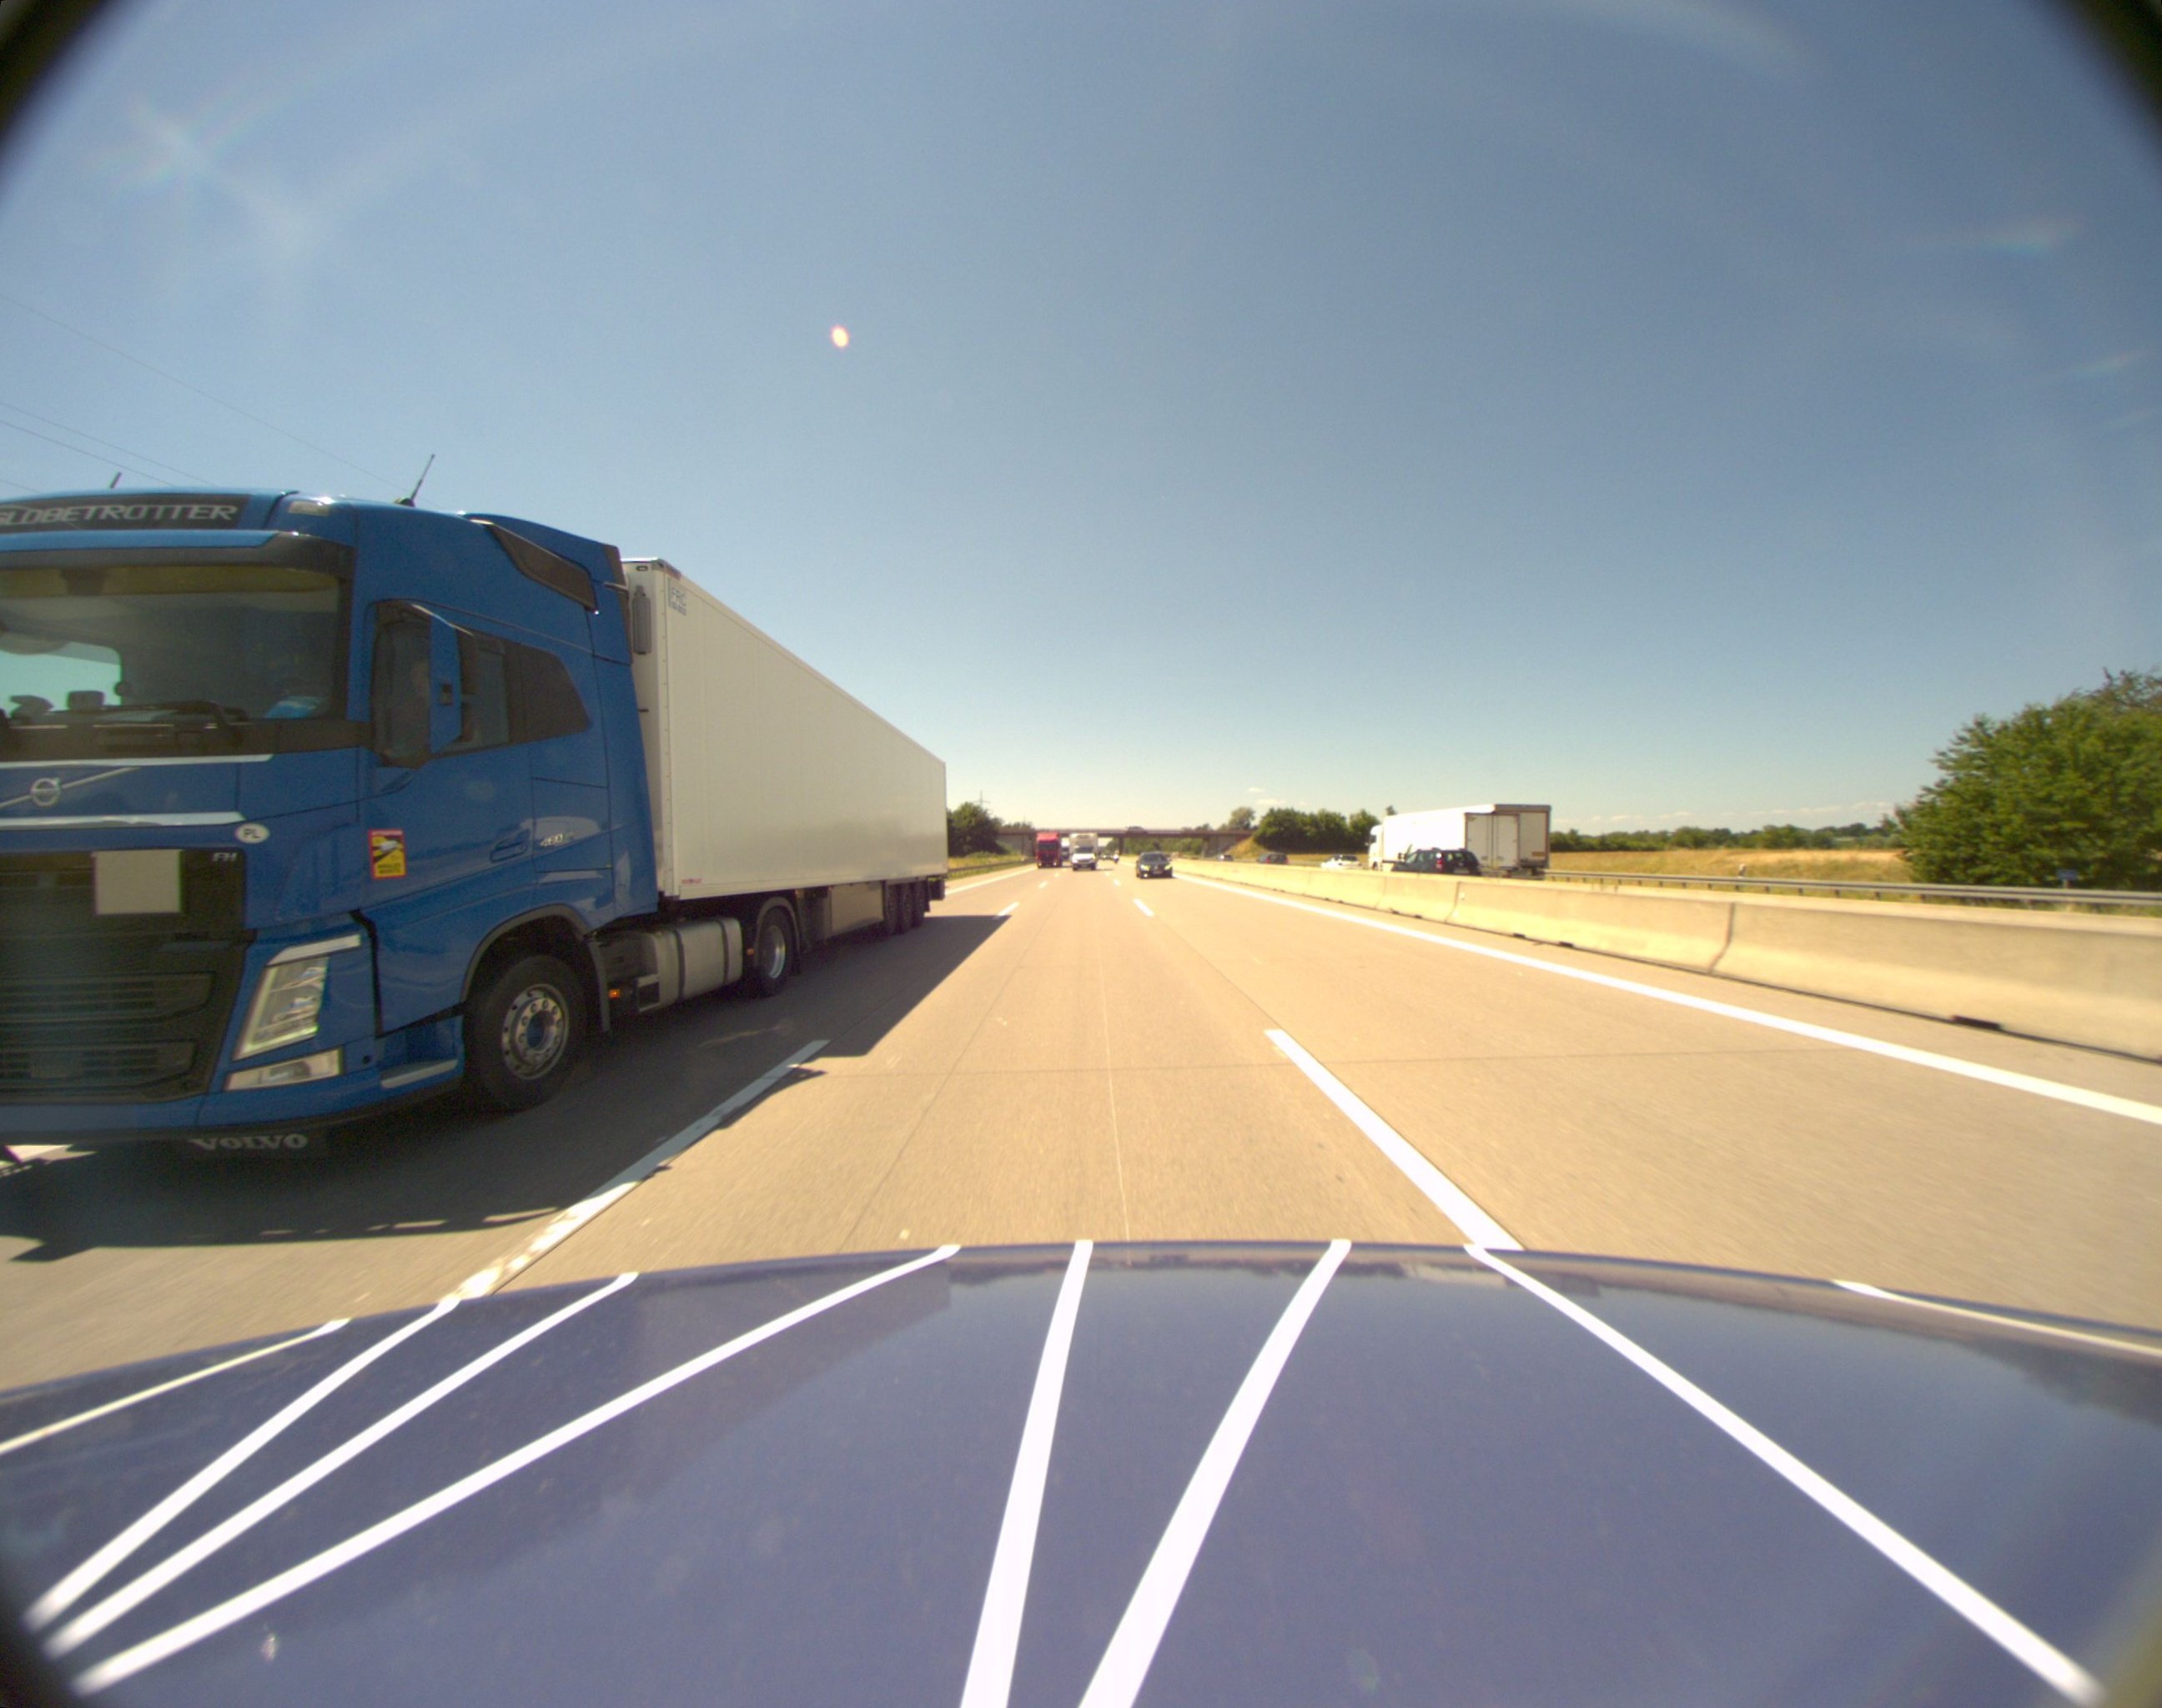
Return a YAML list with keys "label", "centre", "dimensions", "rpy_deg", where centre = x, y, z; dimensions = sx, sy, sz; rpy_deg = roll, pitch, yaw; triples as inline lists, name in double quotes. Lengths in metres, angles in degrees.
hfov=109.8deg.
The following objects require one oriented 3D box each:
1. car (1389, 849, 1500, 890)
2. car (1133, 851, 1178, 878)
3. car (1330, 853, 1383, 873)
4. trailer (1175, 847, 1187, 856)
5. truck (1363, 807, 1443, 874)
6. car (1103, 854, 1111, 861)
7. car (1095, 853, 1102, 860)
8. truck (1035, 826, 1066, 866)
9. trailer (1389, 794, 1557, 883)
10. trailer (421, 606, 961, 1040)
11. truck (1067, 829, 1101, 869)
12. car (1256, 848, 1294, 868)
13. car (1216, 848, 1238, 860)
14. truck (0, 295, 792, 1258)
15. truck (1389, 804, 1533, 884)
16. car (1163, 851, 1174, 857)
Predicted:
- label: "car"
  centre: [12.719, 0.482, 26.948]
  dimensions: [1.851, 1.343, 4.493]
  rpy_deg: [0, 1, 1]
- label: "car"
  centre: [4.271, 0.568, 44.626]
  dimensions: [1.999, 1.462, 6.346]
  rpy_deg: [0, 0, 0]
- label: "car"
  centre: [16.906, 0.521, 46.848]
  dimensions: [1.684, 1.140, 4.397]
  rpy_deg: [-1, 0, 0]
- label: "trailer"
  centre: [22.407, -0.560, 170.628]
  dimensions: [1.814, 2.030, 5.613]
  rpy_deg: [-2, 1, 1]
- label: "truck"
  centre: [20.935, -0.858, 49.768]
  dimensions: [2.826, 4.021, 5.677]
  rpy_deg: [-2, 1, 1]
- label: "car"
  centre: [5.125, 0.672, 149.813]
  dimensions: [1.557, 1.440, 3.776]
  rpy_deg: [-2, 1, 2]
- label: "car"
  centre: [4.299, 0.641, 188.096]
  dimensions: [1.683, 1.444, 3.564]
  rpy_deg: [-2, 1, 2]
- label: "truck"
  centre: [-3.442, -0.917, 89.634]
  dimensions: [2.855, 4.298, 10.885]
  rpy_deg: [-2, 1, 1]
- label: "trailer"
  centre: [20.770, -0.789, 41.595]
  dimensions: [2.827, 4.021, 12.677]
  rpy_deg: [-2, 0, 1]
- label: "trailer"
  centre: [-4.720, -0.334, 13.666]
  dimensions: [2.715, 4.020, 12.901]
  rpy_deg: [-2, 0, 1]
- label: "truck"
  centre: [0.348, -0.434, 68.455]
  dimensions: [2.784, 3.328, 7.813]
  rpy_deg: [-2, 1, 1]
- label: "car"
  centre: [12.377, 0.259, 48.615]
  dimensions: [1.546, 1.156, 3.375]
  rpy_deg: [-2, 0, 0]
- label: "car"
  centre: [17.853, -0.020, 92.907]
  dimensions: [1.740, 1.365, 4.905]
  rpy_deg: [-2, 0, 0]
- label: "truck"
  centre: [-4.814, -0.294, 5.954]
  dimensions: [2.757, 4.020, 5.465]
  rpy_deg: [-2, 1, 1]
- label: "truck"
  centre: [16.804, -0.422, 34.350]
  dimensions: [2.553, 3.124, 7.922]
  rpy_deg: [-1, 1, 0]
- label: "car"
  centre: [18.638, -0.018, 161.264]
  dimensions: [1.717, 1.351, 5.043]
  rpy_deg: [-2, 0, 0]
